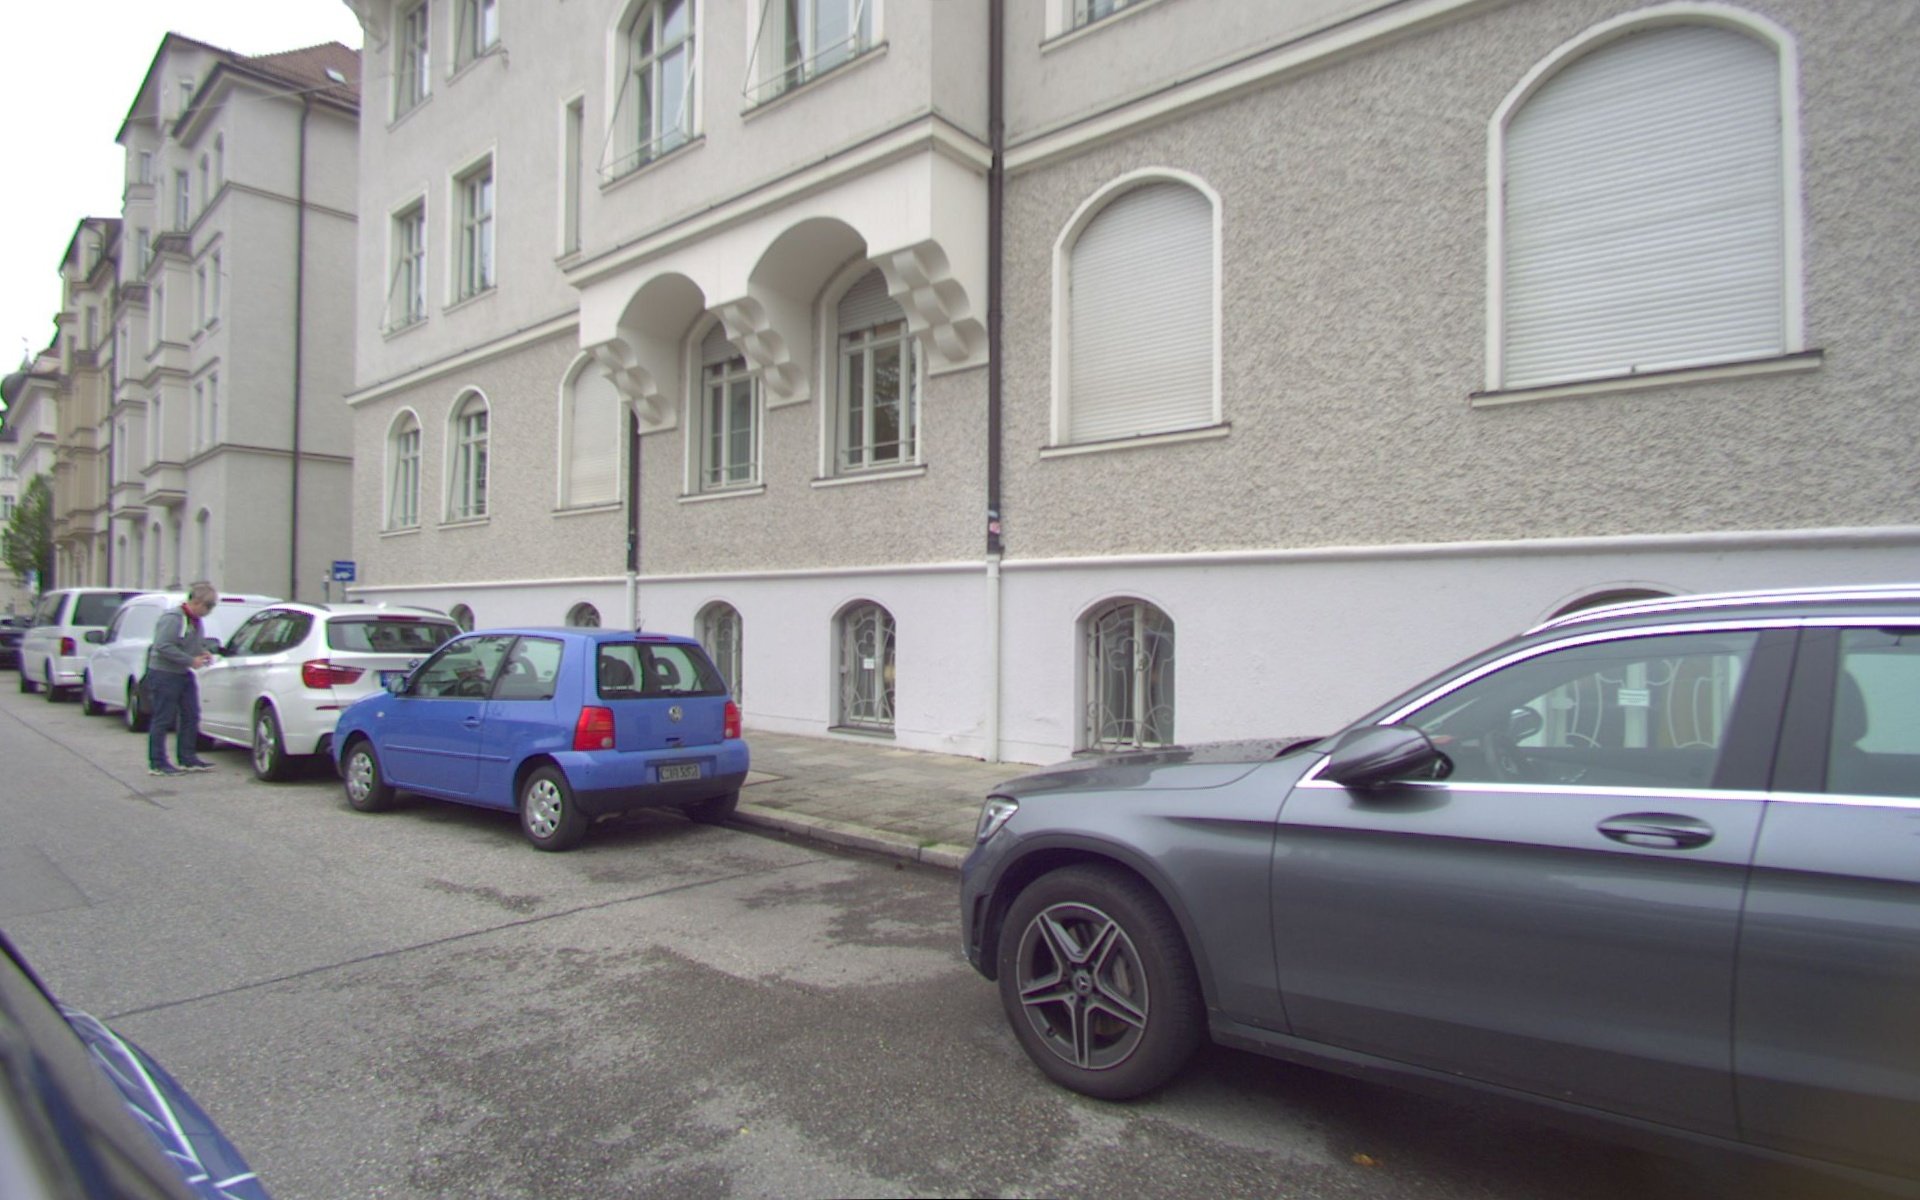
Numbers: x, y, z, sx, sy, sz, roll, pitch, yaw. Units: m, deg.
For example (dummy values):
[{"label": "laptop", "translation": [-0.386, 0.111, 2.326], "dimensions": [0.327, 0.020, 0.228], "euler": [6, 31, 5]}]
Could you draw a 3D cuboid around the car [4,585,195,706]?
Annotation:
[{"label": "car", "translation": [-15.890, 0.795, 18.602], "dimensions": [4.954, 1.953, 1.837], "euler": [-1, -3, 40]}]

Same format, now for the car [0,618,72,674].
[{"label": "car", "translation": [-25.924, 1.221, 27.660], "dimensions": [4.377, 1.423, 1.836], "euler": [-1, -4, 41]}]

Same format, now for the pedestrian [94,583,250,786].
[{"label": "pedestrian", "translation": [-7.328, 0.752, 9.473], "dimensions": [0.947, 1.769, 0.879], "euler": [1, -1, -25]}]

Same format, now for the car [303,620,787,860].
[{"label": "car", "translation": [-3.281, 0.903, 7.849], "dimensions": [3.652, 1.425, 1.678], "euler": [0, -3, 33]}]

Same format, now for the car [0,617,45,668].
[{"label": "car", "translation": [-29.675, 1.258, 31.052], "dimensions": [4.377, 1.475, 1.836], "euler": [-1, -3, 41]}]

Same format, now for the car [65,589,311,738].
[{"label": "car", "translation": [-11.230, 0.831, 14.575], "dimensions": [5.033, 1.802, 1.729], "euler": [-1, -3, 40]}]

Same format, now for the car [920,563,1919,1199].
[{"label": "car", "translation": [2.139, 0.774, 2.925], "dimensions": [4.492, 1.614, 1.729], "euler": [-1, -3, 40]}]

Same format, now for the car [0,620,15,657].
[{"label": "car", "translation": [-37.069, 1.415, 38.199], "dimensions": [3.730, 1.373, 1.785], "euler": [-1, -3, 43]}]

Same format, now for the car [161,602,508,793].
[{"label": "car", "translation": [-6.729, 0.878, 10.683], "dimensions": [4.492, 1.614, 1.729], "euler": [-1, -3, 40]}]
